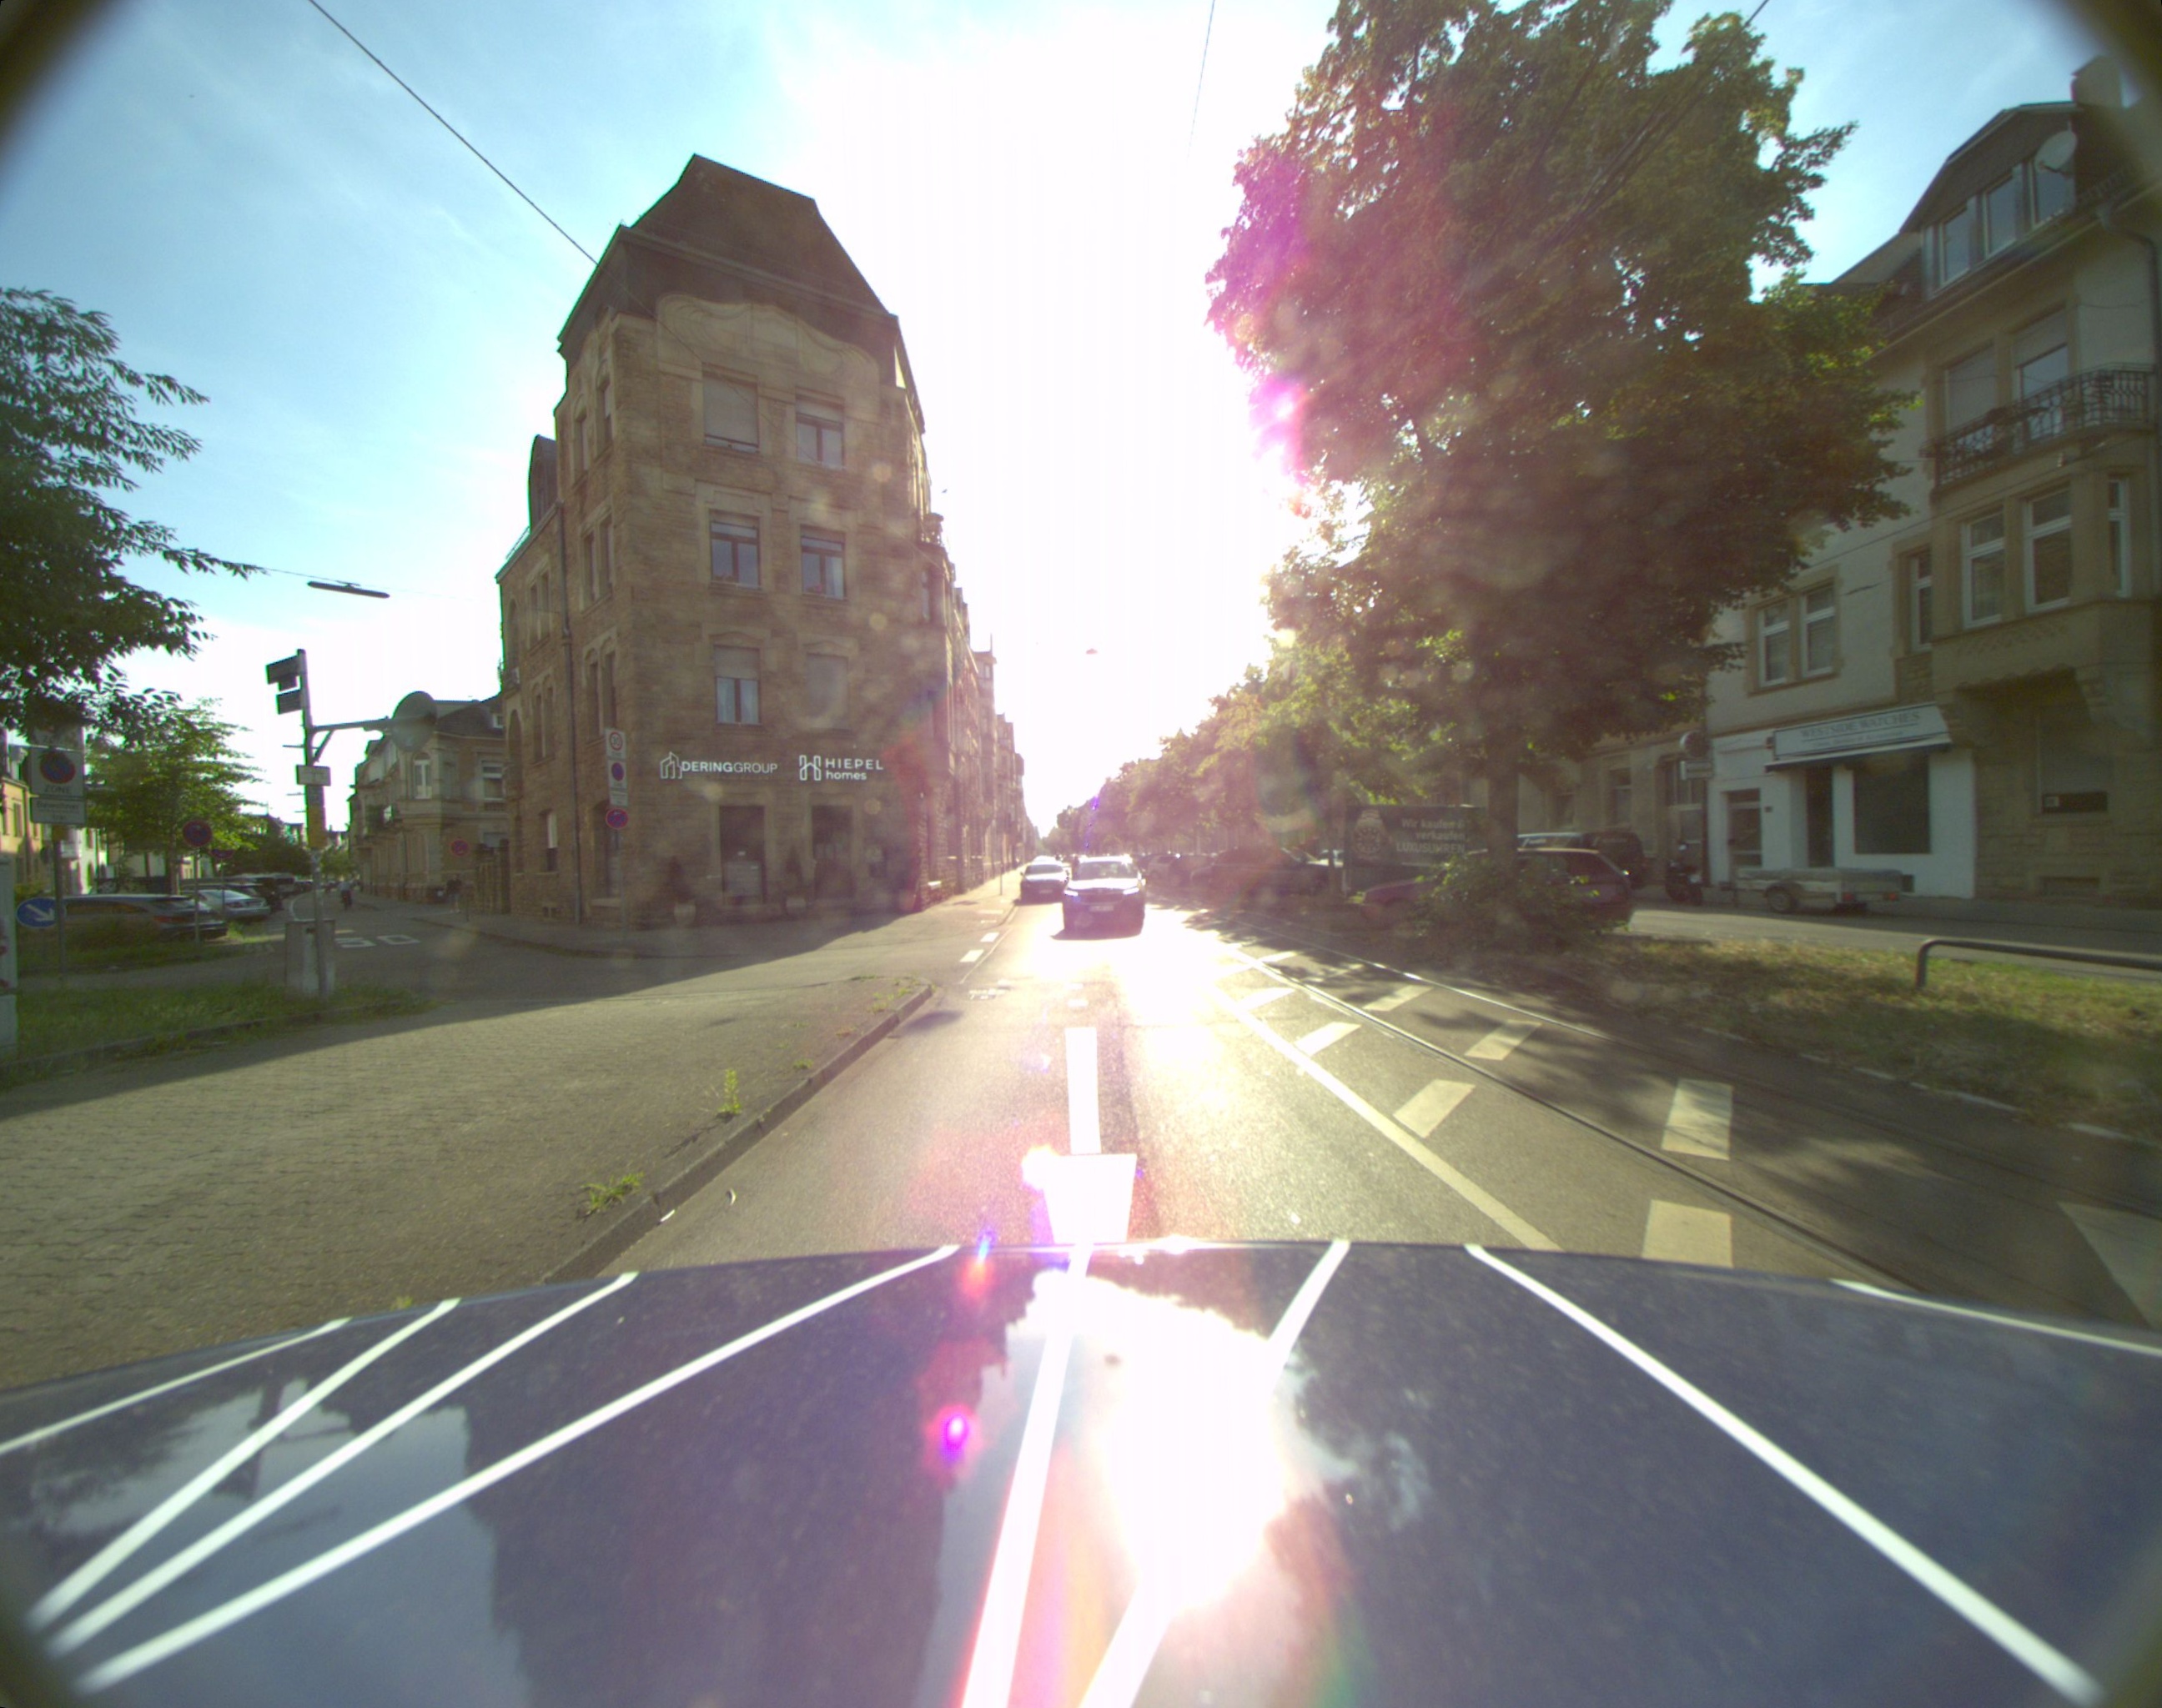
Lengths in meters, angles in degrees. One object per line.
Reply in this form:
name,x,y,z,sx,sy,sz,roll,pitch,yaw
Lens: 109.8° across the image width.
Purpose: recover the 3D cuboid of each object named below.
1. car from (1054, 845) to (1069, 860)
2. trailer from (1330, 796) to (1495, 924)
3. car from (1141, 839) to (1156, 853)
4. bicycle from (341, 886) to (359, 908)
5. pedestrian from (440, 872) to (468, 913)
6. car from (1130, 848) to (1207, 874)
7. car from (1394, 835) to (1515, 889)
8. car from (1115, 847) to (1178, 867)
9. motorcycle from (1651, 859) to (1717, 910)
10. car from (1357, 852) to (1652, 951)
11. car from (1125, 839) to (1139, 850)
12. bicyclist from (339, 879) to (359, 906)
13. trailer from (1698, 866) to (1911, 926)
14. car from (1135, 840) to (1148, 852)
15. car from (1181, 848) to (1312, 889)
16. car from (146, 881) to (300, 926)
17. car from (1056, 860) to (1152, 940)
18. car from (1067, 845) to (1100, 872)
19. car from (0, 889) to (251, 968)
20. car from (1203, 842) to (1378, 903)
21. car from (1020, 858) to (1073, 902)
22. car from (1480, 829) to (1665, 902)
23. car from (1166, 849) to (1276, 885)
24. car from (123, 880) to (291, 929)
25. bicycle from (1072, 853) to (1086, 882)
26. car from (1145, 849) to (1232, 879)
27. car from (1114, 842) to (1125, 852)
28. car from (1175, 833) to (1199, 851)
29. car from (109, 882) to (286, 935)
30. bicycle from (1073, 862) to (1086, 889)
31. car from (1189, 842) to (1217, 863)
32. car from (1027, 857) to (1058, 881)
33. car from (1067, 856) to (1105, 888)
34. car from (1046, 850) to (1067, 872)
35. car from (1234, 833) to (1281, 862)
car,-2.812,-0.267,107.121,1.999,2.002,3.999,-2,1,-3
trailer,6.787,0.146,15.537,2.859,2.378,1.726,-3,0,29
car,10.546,-1.190,118.943,1.998,2.002,4.000,-3,0,1
bicycle,-41.448,2.441,43.072,0.696,1.149,2.473,-3,1,-44
pedestrian,-26.389,1.604,31.991,0.765,1.665,0.781,-3,1,-44
car,5.458,0.440,47.781,4.260,1.414,2.176,-3,0,39
car,13.696,0.277,28.223,2.170,1.740,4.610,-3,0,0
car,4.943,0.255,57.834,4.260,1.414,2.176,-2,1,39
motorcycle,14.040,0.689,17.739,0.636,1.074,1.736,-3,0,19
car,6.745,0.697,12.348,3.942,1.352,1.676,-1,1,33
car,9.580,-1.729,142.549,1.999,2.002,3.999,-3,0,-3
bicyclist,-41.511,2.169,43.081,0.745,1.447,0.653,-3,1,-44
trailer,14.431,0.799,15.360,1.444,0.891,2.879,-6,0,-2
car,10.353,-1.369,130.481,1.998,2.002,4.000,-3,0,1
car,6.419,0.580,29.668,4.598,1.373,1.704,-3,0,32
car,-37.766,2.128,33.600,4.005,1.641,1.996,-3,0,-27
car,0.437,0.918,16.997,1.840,1.472,3.999,-2,0,-1
car,0.112,0.272,46.033,1.840,1.472,3.999,-3,0,-1
car,-23.314,1.743,18.063,4.454,1.505,1.998,-3,0,-11
car,6.420,0.559,23.545,4.705,1.680,2.176,-2,1,39
car,-1.375,0.941,29.483,1.840,1.494,4.264,-3,0,-4
car,13.772,0.287,21.742,2.170,1.740,4.717,-3,0,0
car,6.114,0.583,33.488,4.295,1.414,1.963,-3,0,39
car,-35.691,2.001,31.198,4.005,1.641,1.996,-3,0,-27
bicycle,-0.084,0.617,35.169,0.575,1.290,0.688,-3,1,-3
car,5.673,0.552,40.452,4.260,1.414,1.685,-3,0,39
car,8.335,-1.563,164.431,1.999,2.002,3.999,-3,0,-3
car,12.317,-1.363,88.169,1.999,2.002,3.999,-3,0,-2
car,-33.723,2.039,29.134,4.000,1.641,1.998,-3,0,-10
bicycle,-0.061,0.972,35.148,0.484,1.183,1.339,-3,0,-3
car,12.568,-0.142,78.681,1.999,2.002,3.999,-3,0,-2
car,-2.544,0.968,50.953,1.840,1.472,3.999,-3,0,-1
car,0.228,0.917,40.409,1.840,1.472,3.999,-3,0,-1
car,-2.537,0.675,76.694,1.999,2.002,3.998,-2,1,-3
car,12.621,-0.471,54.623,2.170,1.890,4.610,-3,0,0
